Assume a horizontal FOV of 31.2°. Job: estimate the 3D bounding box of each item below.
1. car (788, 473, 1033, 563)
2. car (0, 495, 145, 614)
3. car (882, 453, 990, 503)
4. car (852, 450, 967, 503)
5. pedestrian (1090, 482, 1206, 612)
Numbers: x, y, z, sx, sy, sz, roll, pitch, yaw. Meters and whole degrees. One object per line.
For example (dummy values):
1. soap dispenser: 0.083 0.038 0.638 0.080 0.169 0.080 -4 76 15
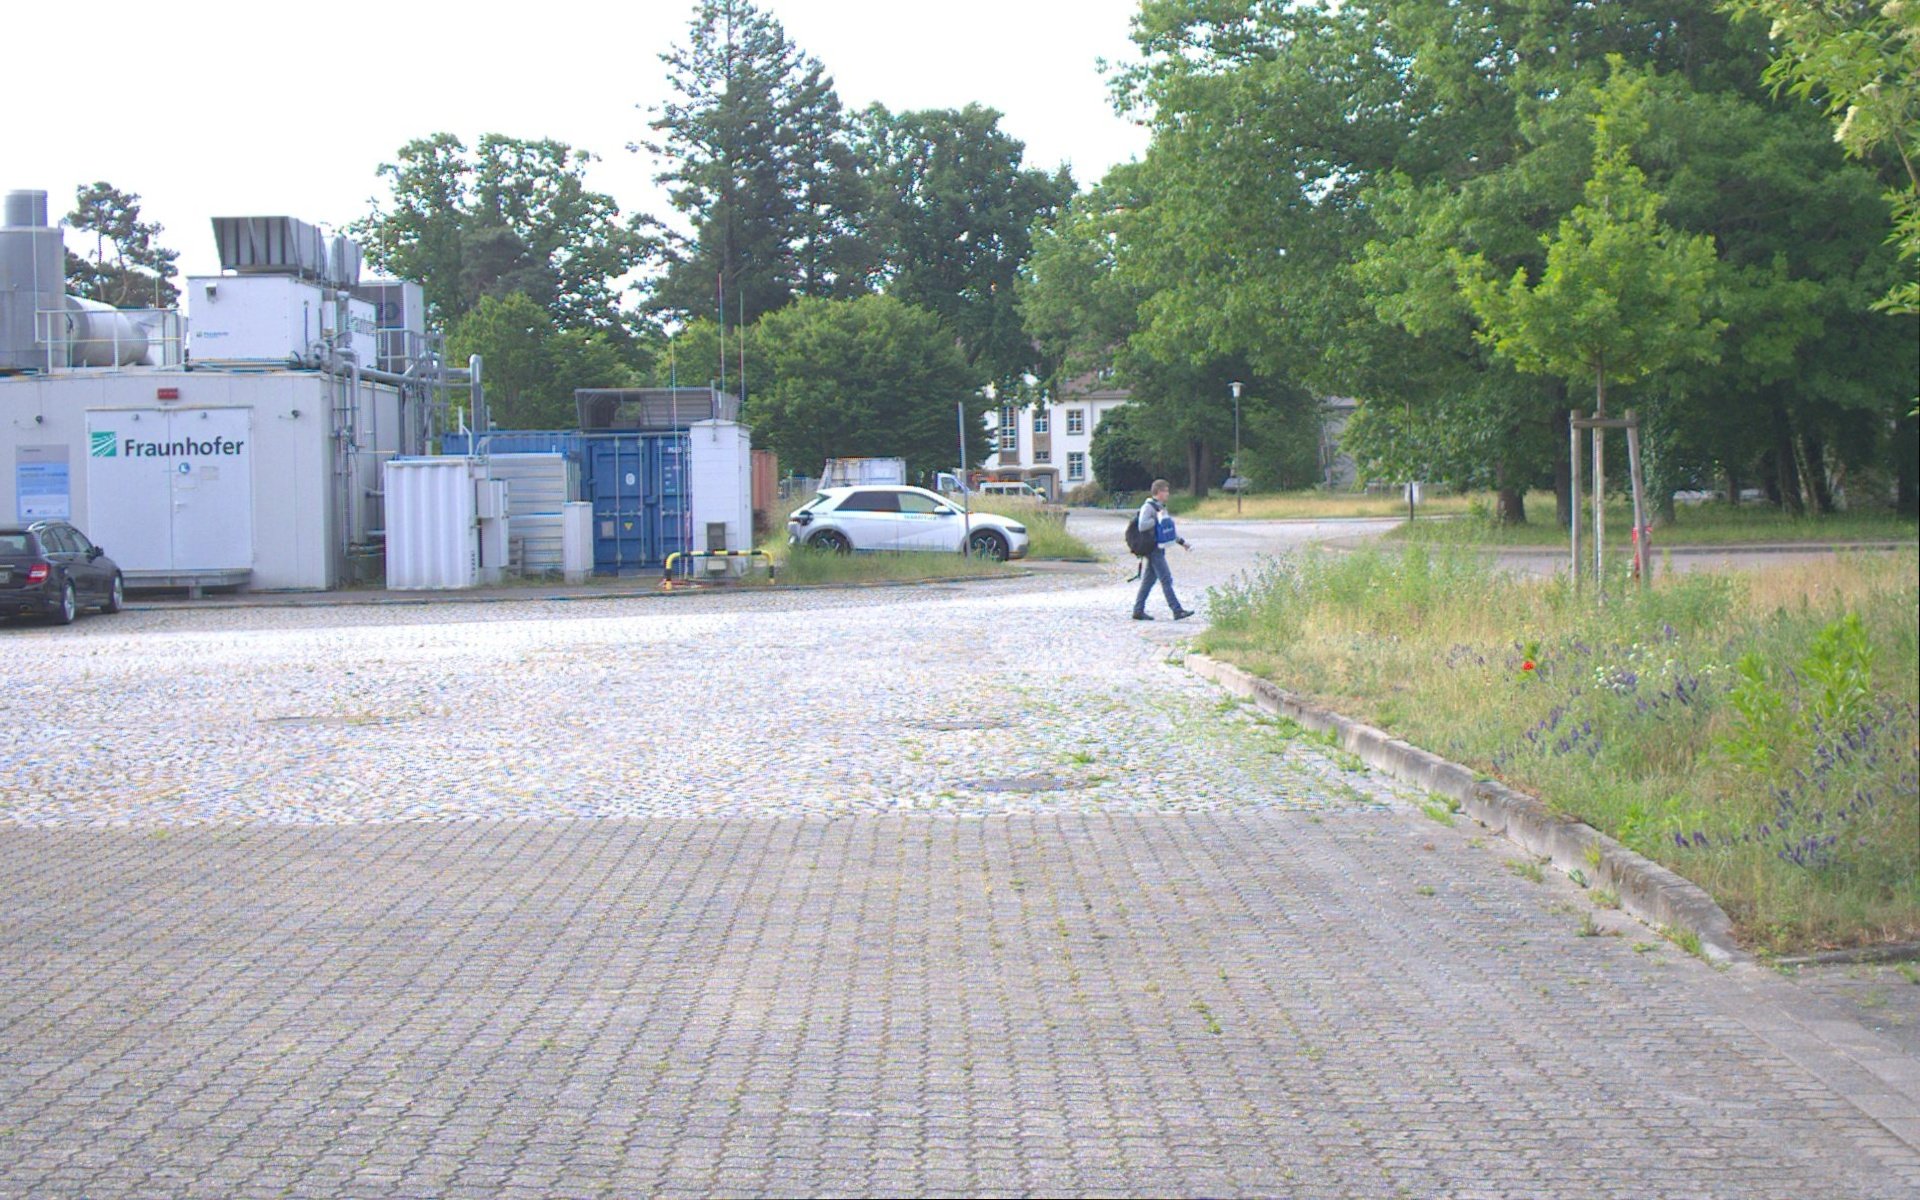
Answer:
1. car: -0.913 -1.574 65.796 4.534 1.594 2.000 -1 2 3
2. car: -13.135 -0.667 48.753 2.036 1.448 4.531 -1 4 0
3. car: -1.149 -5.947 167.314 5.170 2.329 2.000 -1 2 0
4. car: -2.302 -5.671 157.761 5.170 2.329 2.000 -1 2 0
5. pedestrian: 2.298 -0.649 41.888 1.077 1.551 1.074 0 2 24
